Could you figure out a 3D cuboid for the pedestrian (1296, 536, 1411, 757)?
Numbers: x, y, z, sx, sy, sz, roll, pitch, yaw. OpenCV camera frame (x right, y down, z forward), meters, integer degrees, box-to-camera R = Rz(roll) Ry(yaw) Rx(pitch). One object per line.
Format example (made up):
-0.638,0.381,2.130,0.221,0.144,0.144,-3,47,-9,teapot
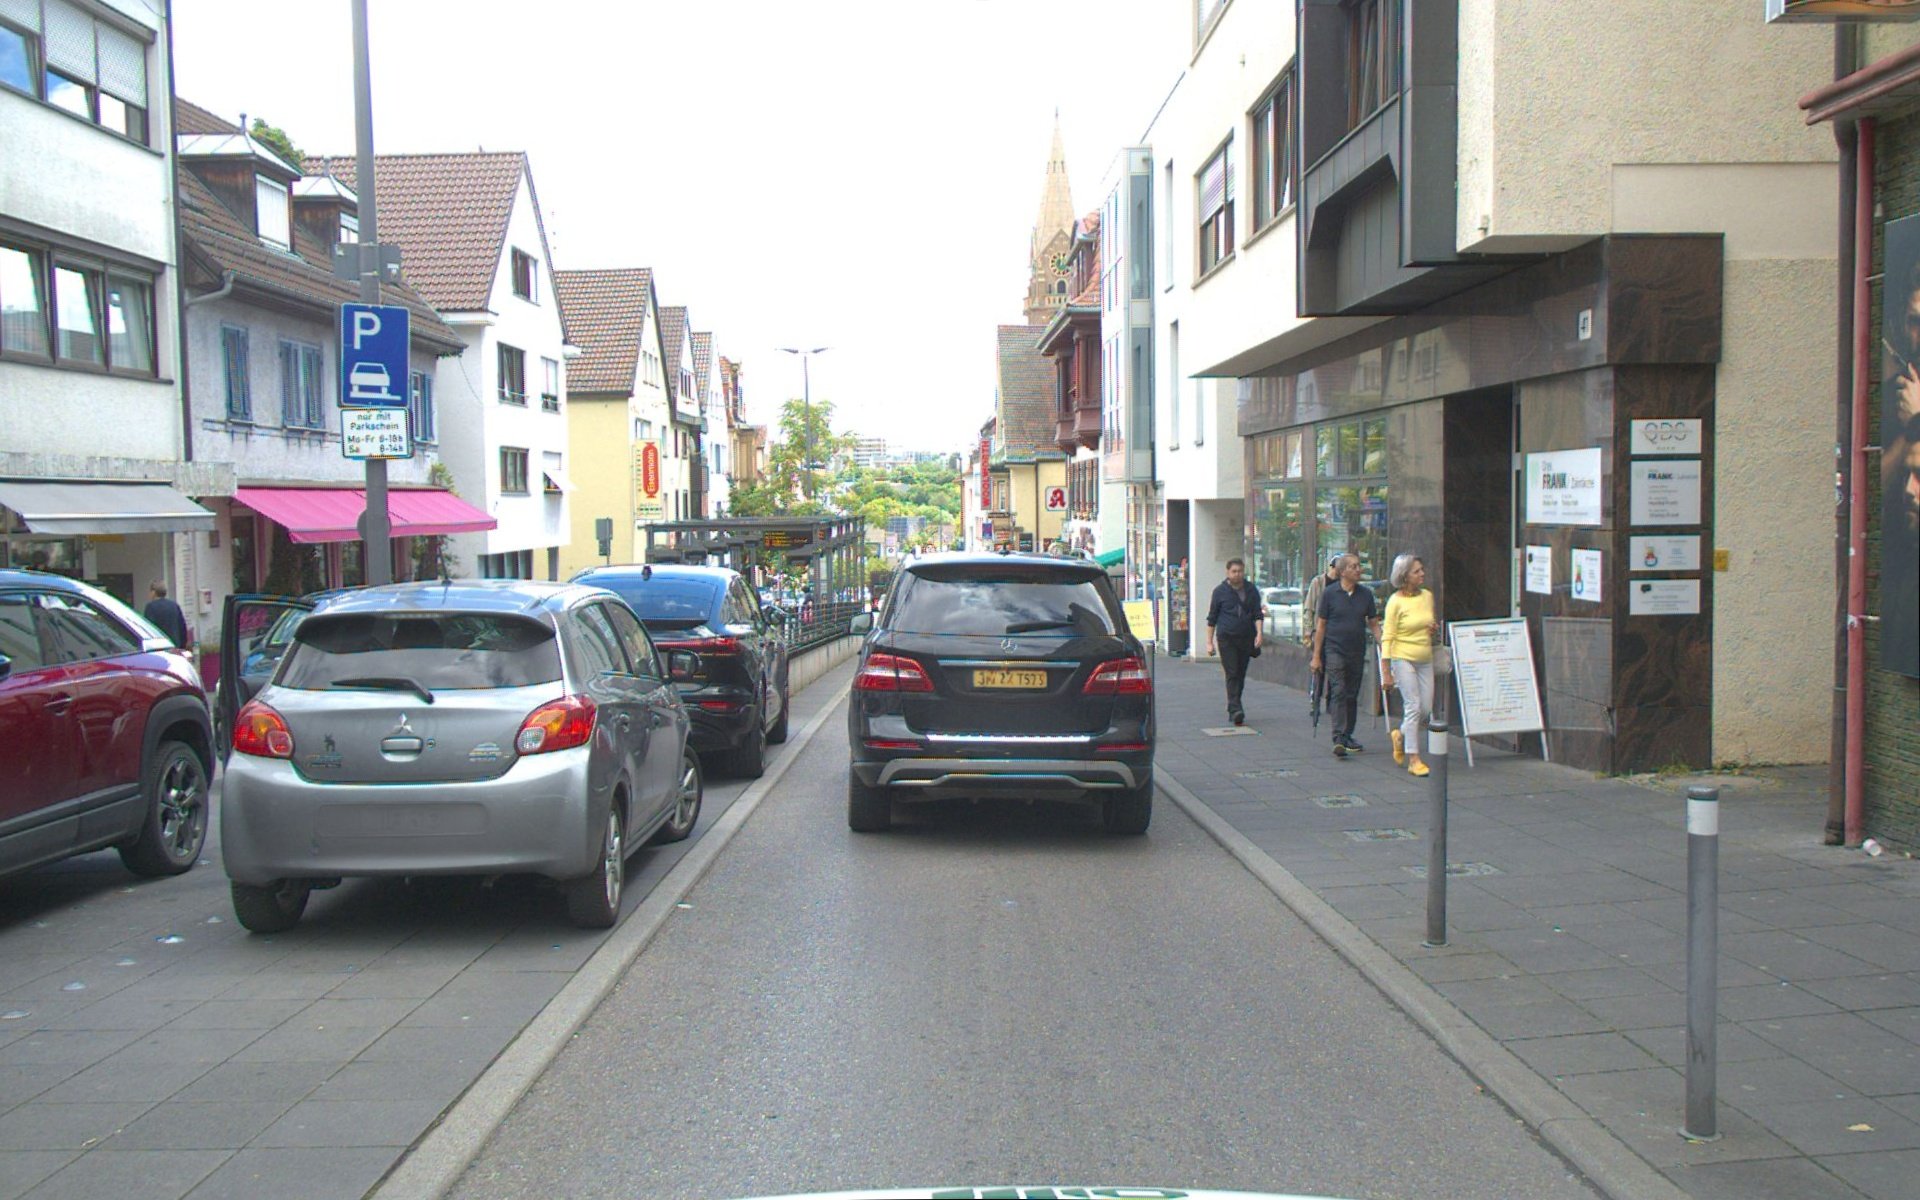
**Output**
3.314,0.377,13.977,0.697,1.784,0.785,-3,0,-1,pedestrian

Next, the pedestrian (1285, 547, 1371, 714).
3.956,0.321,17.794,0.650,1.718,0.542,-4,1,-8,pedestrian

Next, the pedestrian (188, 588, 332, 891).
-3.503,0.676,8.302,0.457,1.456,0.492,-3,0,-1,pedestrian

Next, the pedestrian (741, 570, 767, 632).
-5.782,0.027,46.488,0.599,1.718,0.563,1,0,5,pedestrian

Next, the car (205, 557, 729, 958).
-2.190,0.614,8.334,1.587,1.559,3.669,1,0,-1,car

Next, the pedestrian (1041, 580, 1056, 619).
3.908,-0.014,73.229,0.594,1.718,0.724,-1,0,-2,pedestrian

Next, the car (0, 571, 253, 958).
-4.737,0.652,7.050,1.704,1.570,4.192,1,0,-1,car

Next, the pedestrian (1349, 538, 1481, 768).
3.449,0.386,12.603,0.697,1.659,0.835,-3,0,-1,pedestrian

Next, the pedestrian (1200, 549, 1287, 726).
2.974,0.382,17.414,0.697,1.784,0.787,-3,0,-1,pedestrian

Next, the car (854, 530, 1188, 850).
0.253,0.505,11.316,1.862,1.777,3.998,1,0,-3,car

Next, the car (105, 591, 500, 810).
-5.113,0.693,13.458,1.703,1.501,3.883,1,0,-1,car

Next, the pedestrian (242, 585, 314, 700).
-9.444,0.577,22.933,0.651,1.566,0.946,0,0,-3,pedestrian

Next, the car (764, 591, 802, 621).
-9.296,0.295,87.015,1.627,1.516,3.747,1,0,-1,car

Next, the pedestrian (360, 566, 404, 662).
-10.498,0.254,30.056,0.566,1.718,0.576,1,0,-2,pedestrian

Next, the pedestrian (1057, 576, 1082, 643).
2.883,0.244,43.425,0.532,1.756,0.527,-1,0,-8,pedestrian

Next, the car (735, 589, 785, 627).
-8.406,0.308,69.879,1.655,1.516,3.978,1,0,-1,car

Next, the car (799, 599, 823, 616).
-9.885,0.469,109.707,1.360,1.089,3.112,-1,0,-1,car

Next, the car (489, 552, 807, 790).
-2.410,0.495,13.903,1.917,1.668,4.313,1,0,-1,car

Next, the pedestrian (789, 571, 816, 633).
-4.425,0.056,46.443,0.612,1.718,0.679,1,0,7,pedestrian

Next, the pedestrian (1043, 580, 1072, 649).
2.451,0.360,41.621,0.609,1.718,0.565,1,0,-8,pedestrian

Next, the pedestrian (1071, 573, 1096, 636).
3.422,0.133,45.737,0.562,1.718,0.565,1,0,-8,pedestrian

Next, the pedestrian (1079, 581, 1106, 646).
3.596,0.363,44.786,0.562,1.718,0.565,-2,0,-7,pedestrian
